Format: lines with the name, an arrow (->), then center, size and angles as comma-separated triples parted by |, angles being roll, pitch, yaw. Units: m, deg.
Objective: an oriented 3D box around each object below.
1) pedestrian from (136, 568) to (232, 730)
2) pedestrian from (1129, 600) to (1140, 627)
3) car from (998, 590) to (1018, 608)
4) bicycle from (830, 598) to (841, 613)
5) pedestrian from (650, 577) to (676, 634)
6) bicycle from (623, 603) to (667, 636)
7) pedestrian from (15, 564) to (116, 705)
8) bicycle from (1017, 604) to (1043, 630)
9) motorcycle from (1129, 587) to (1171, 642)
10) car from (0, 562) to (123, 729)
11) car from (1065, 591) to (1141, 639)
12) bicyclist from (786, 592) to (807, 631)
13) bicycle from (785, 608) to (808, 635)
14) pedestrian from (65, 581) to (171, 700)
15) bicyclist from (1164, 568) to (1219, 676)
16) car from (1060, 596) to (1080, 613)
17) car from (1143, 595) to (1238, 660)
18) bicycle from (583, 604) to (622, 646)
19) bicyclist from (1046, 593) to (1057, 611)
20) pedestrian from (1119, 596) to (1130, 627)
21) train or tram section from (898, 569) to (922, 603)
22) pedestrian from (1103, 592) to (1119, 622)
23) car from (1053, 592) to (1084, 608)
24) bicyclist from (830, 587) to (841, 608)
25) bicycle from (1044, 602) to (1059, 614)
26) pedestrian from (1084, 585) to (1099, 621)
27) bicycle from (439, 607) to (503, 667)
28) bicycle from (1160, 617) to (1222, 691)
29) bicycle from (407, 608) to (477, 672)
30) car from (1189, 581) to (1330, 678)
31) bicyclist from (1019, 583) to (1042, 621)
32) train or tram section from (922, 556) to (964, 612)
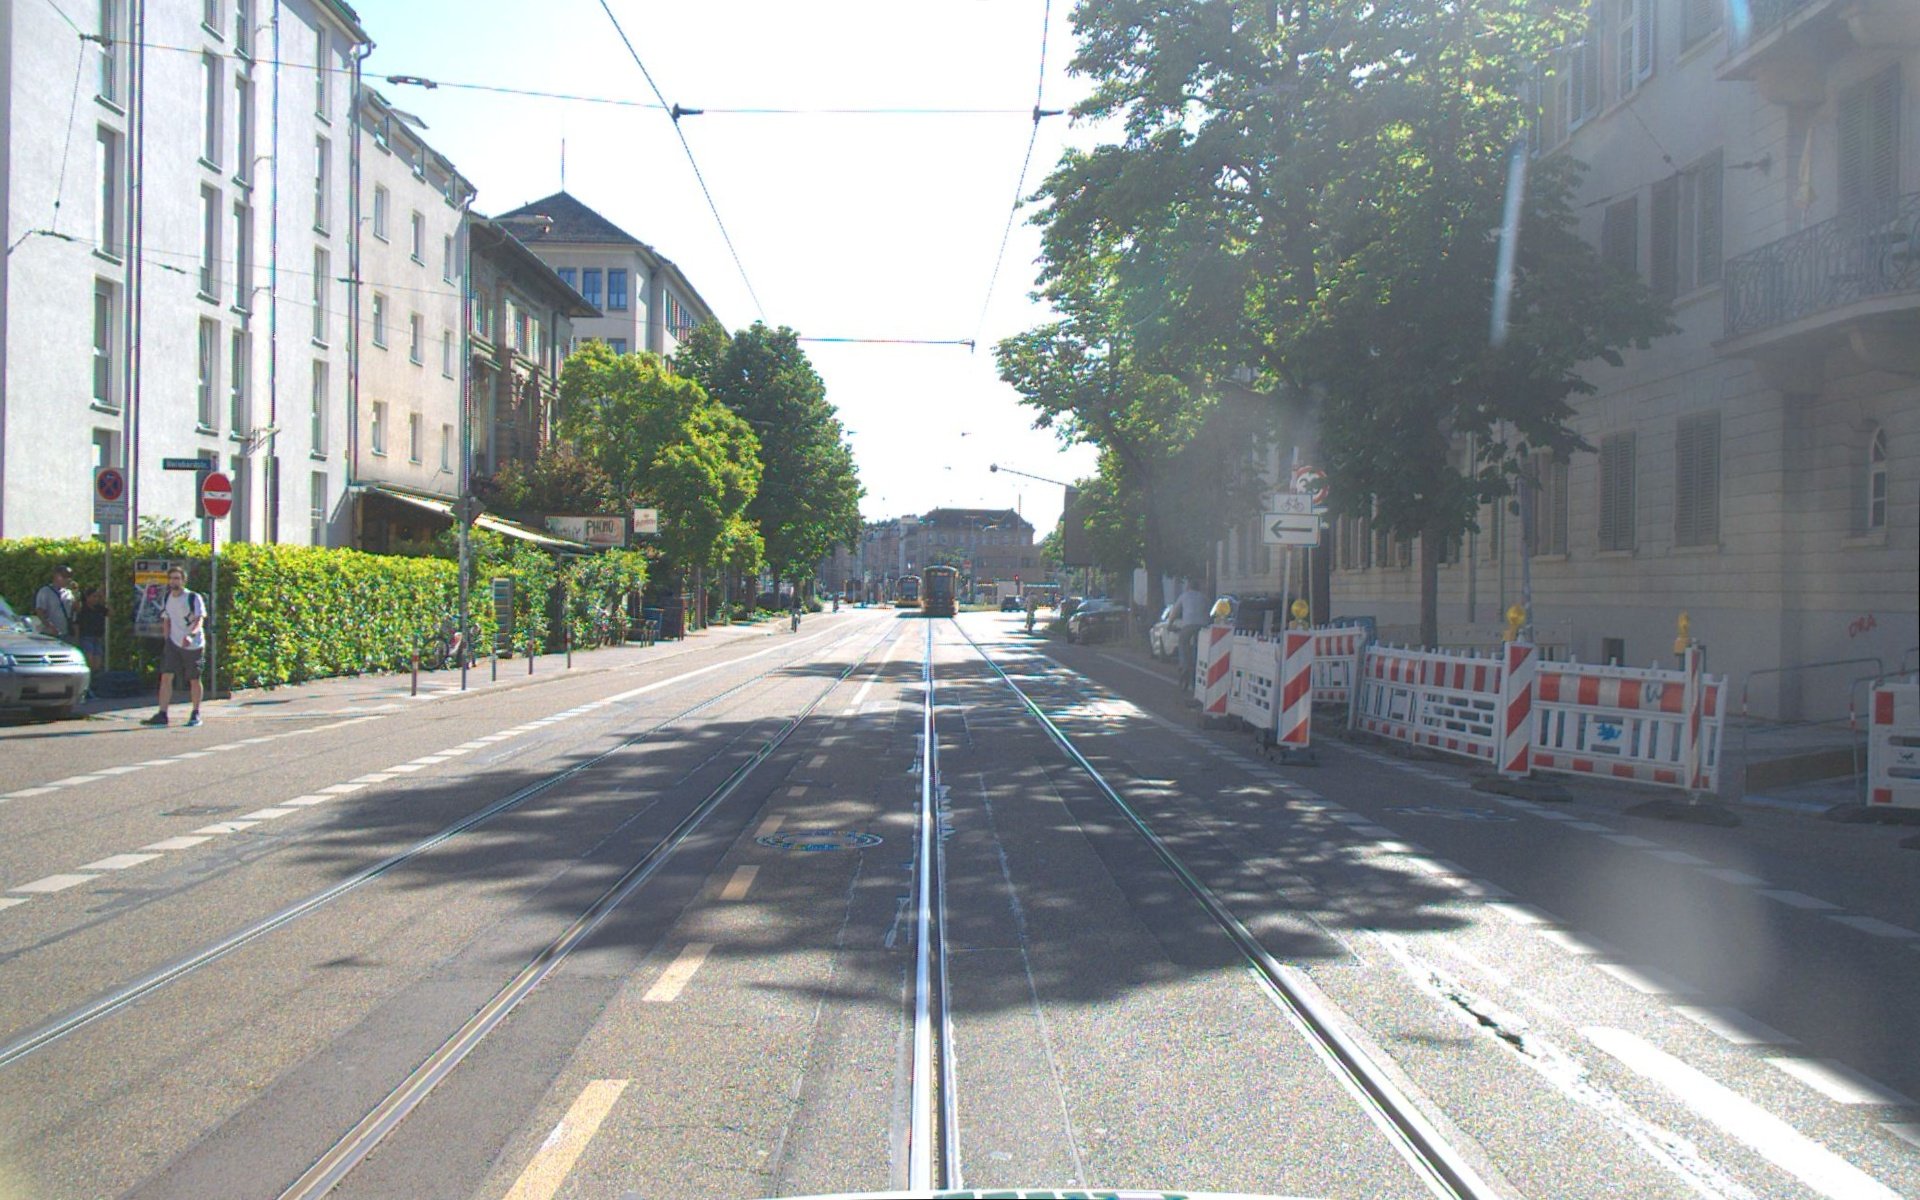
pedestrian -> -8.820, 0.539, 18.827 | 0.677, 1.799, 0.866 | 0, 0, -1
pedestrian -> 9.277, 0.691, 87.805 | 0.507, 1.429, 0.765 | 0, 0, 2
car -> 4.559, -0.125, 156.512 | 1.751, 1.632, 3.714 | 2, 1, 3
bicycle -> -9.956, 0.441, 132.261 | 0.672, 1.144, 1.932 | -1, 0, 3
pedestrian -> -9.941, 0.182, 55.370 | 0.563, 1.863, 0.690 | 1, 0, 18
bicycle -> -10.545, 0.636, 55.486 | 0.623, 1.064, 2.023 | 1, 0, 15
pedestrian -> -11.438, 0.433, 21.159 | 0.789, 1.744, 0.757 | 2, 0, 18
bicycle -> 3.186, 0.752, 75.111 | 0.690, 1.124, 1.718 | 2, 1, 18
motorcycle -> 5.466, 0.411, 47.672 | 0.895, 1.514, 2.679 | -1, 0, 0
car -> -12.152, 0.511, 19.564 | 3.957, 1.839, 1.792 | 0, -1, 20
car -> 4.764, 0.464, 55.672 | 1.786, 1.484, 4.814 | -1, 0, -4
bicyclist -> -7.139, 0.489, 72.081 | 0.730, 1.627, 1.118 | -2, 0, 0
bicycle -> -7.120, 0.933, 72.078 | 0.730, 1.101, 1.899 | -2, 0, 0
pedestrian -> -11.120, 0.520, 21.854 | 0.934, 1.503, 0.757 | 2, 0, 18
bicyclist -> 3.793, 0.350, 27.183 | 0.723, 1.715, 0.972 | 2, 0, 1
car -> 10.454, 0.446, 157.662 | 1.752, 1.537, 3.713 | 2, 1, 1
car -> 5.437, 0.607, 39.518 | 1.688, 1.406, 4.356 | -1, 0, 1
bicycle -> -9.648, 0.667, 44.737 | 0.625, 1.077, 1.743 | 3, 0, 0
bicyclist -> 8.838, 0.217, 159.230 | 0.691, 1.730, 0.986 | 3, 1, 23
pedestrian -> 8.734, 0.595, 87.820 | 0.507, 1.628, 0.765 | 0, 0, 2
train or tram section -> -5.697, -1.631, 188.773 | 2.687, 3.715, 13.781 | 1, 1, -2
pedestrian -> 8.492, 0.376, 93.158 | 0.839, 1.669, 0.993 | 0, -1, 1
car -> 11.733, -0.026, 179.149 | 1.672, 1.672, 3.701 | 2, 1, 34
bicyclist -> -9.972, -0.190, 132.243 | 0.672, 1.673, 1.238 | -1, 0, 3
bicycle -> 8.806, 0.792, 159.229 | 0.691, 1.073, 2.313 | 3, 1, 23
pedestrian -> 6.950, 0.132, 87.218 | 0.670, 1.882, 0.955 | -1, 0, -2
bicycle -> -9.571, 0.721, 32.455 | 0.648, 1.108, 1.840 | 3, -1, 0
bicycle -> 3.776, 0.857, 27.195 | 0.723, 1.113, 2.111 | 2, 0, 1
bicycle -> -9.526, 0.717, 30.477 | 0.648, 1.108, 1.840 | 3, -1, 0
car -> 5.578, 0.497, 31.349 | 1.773, 1.654, 4.583 | -2, 0, 0
bicyclist -> 3.202, 0.088, 75.072 | 0.690, 1.704, 1.102 | 2, 1, 18
train or tram section -> -1.324, -1.177, 119.287 | 2.687, 3.715, 13.781 | 1, 1, -2
